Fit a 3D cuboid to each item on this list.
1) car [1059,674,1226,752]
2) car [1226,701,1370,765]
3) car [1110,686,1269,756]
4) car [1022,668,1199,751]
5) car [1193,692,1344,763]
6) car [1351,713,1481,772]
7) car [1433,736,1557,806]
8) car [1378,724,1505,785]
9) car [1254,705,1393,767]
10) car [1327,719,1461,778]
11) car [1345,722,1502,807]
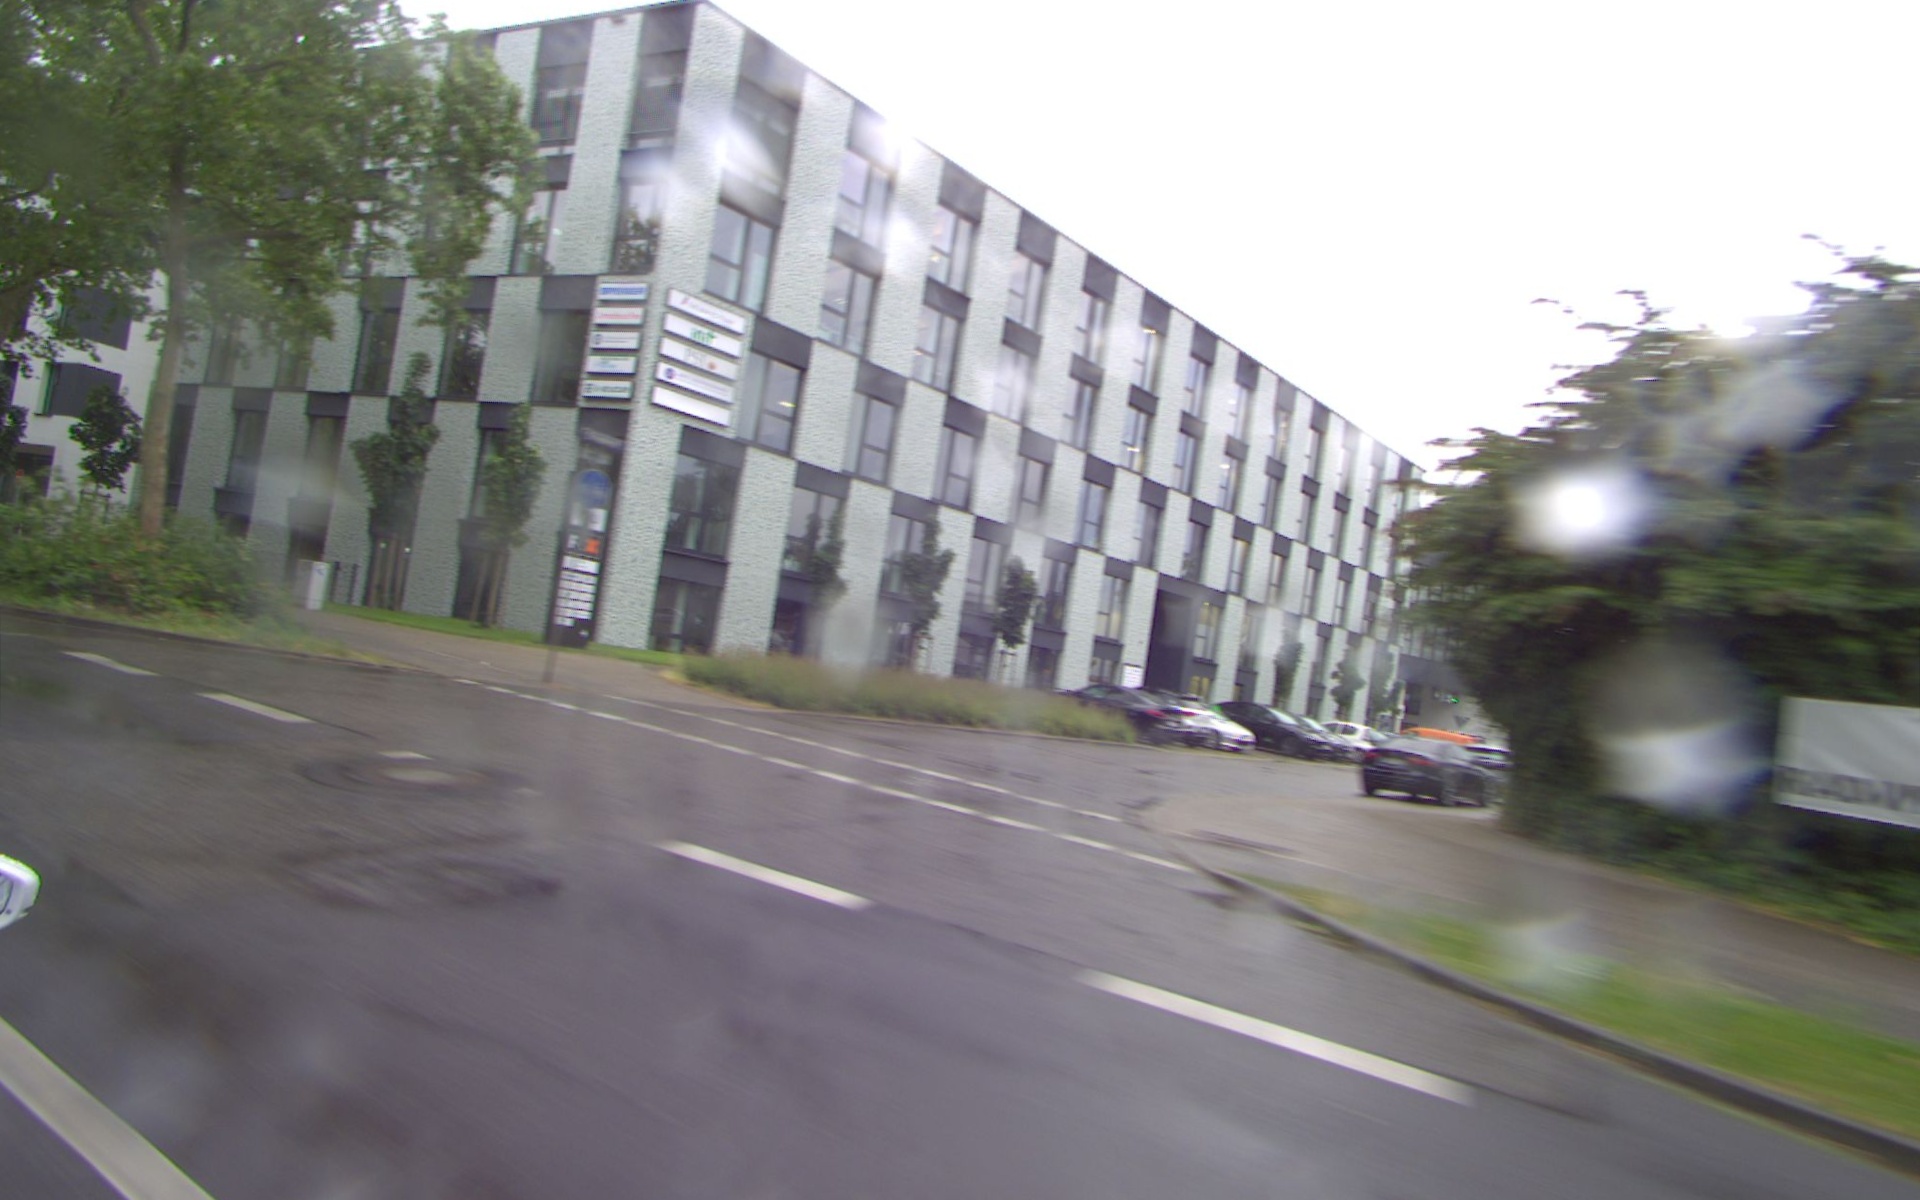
[{"bbox_3d":[5.550,3.436,31.037,4.669,1.546,1.885,6,-4,45],"label":"car"},{"bbox_3d":[12.703,4.999,38.005,1.885,1.522,4.670,11,-3,-44],"label":"car"},{"bbox_3d":[7.443,3.933,32.968,1.885,1.428,4.670,11,-3,-44],"label":"car"},{"bbox_3d":[4.225,3.082,28.809,1.885,1.547,4.670,11,-3,-44],"label":"car"},{"bbox_3d":[10.913,4.503,35.797,1.885,1.634,4.670,11,-3,-44],"label":"car"},{"bbox_3d":[19.887,6.183,44.000,1.885,1.680,4.670,11,-3,-44],"label":"car"},{"bbox_3d":[14.643,4.678,27.421,1.870,1.545,4.288,2,-7,44],"label":"car"},{"bbox_3d":[21.849,6.994,45.762,1.884,1.866,4.670,11,-3,-44],"label":"car"},{"bbox_3d":[14.231,5.311,39.568,1.885,1.547,4.670,11,-3,-44],"label":"car"},{"bbox_3d":[18.243,6.241,42.432,1.885,1.547,4.670,11,-3,-44],"label":"car"},{"bbox_3d":[10.614,3.781,22.888,1.871,1.521,4.288,1,-8,44],"label":"car"}]
